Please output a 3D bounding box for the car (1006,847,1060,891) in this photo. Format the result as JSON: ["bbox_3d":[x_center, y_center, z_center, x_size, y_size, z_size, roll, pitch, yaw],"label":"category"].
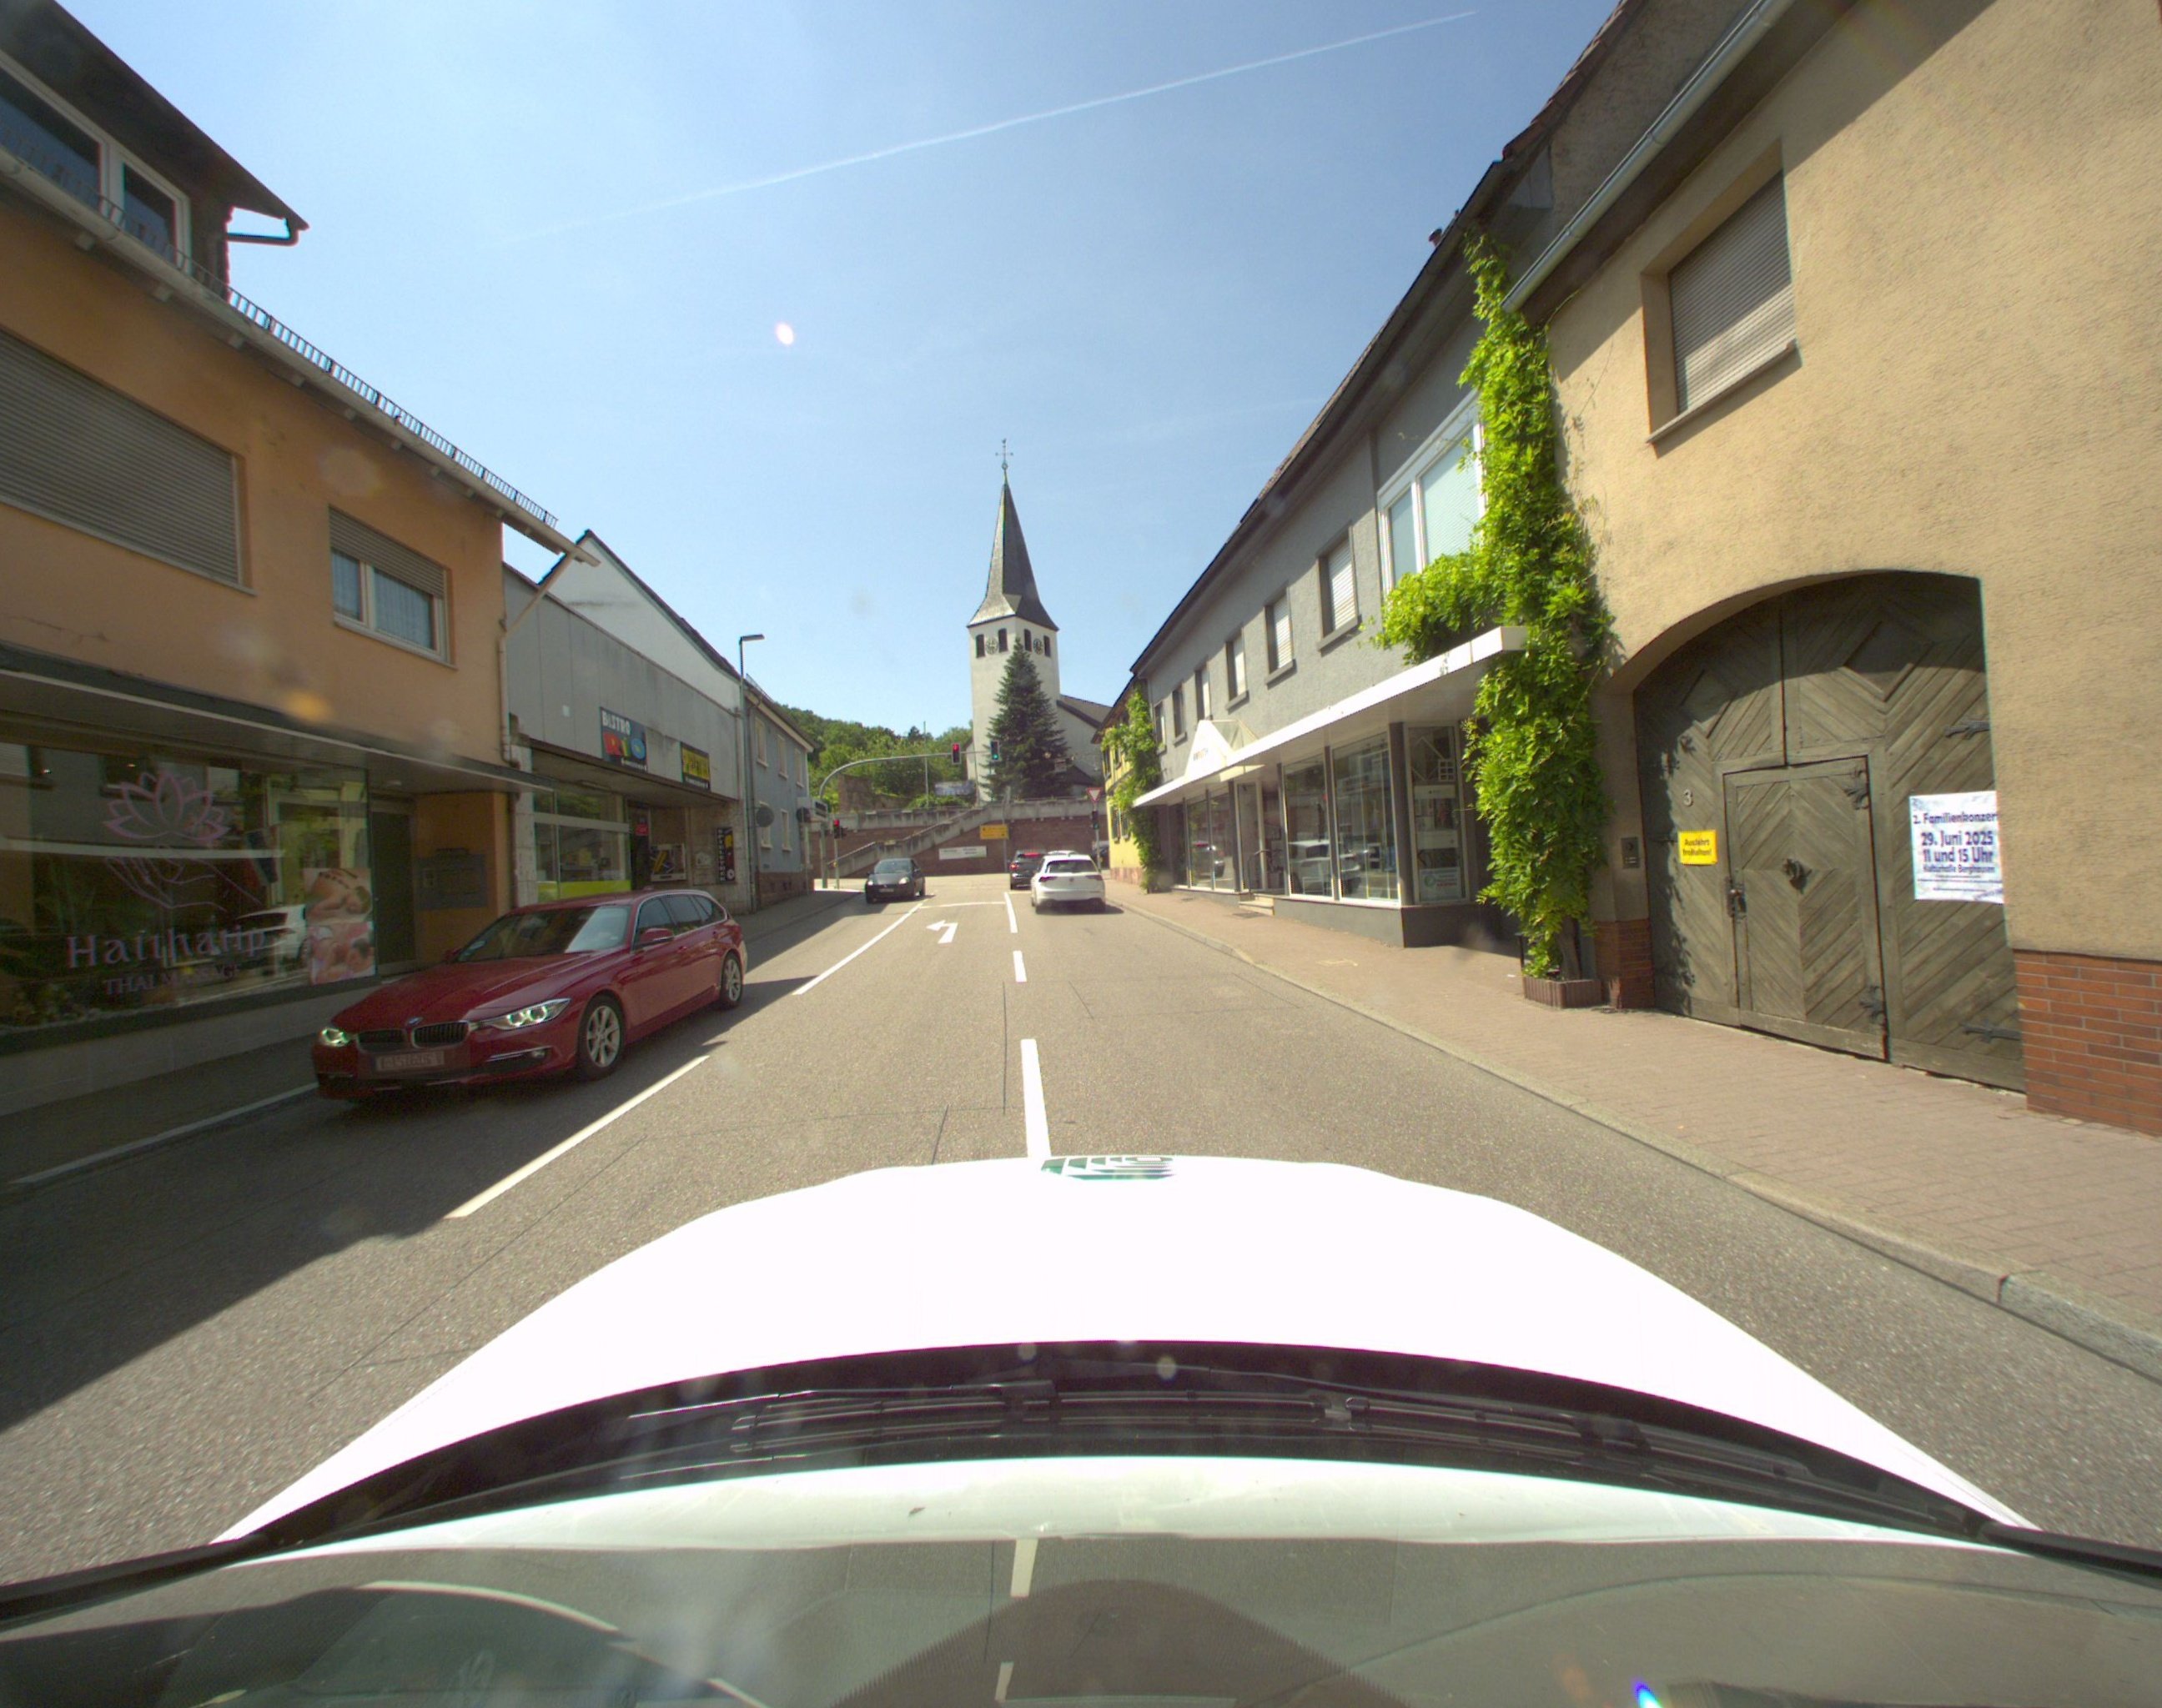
[{"bbox_3d":[-2.094,0.585,34.306,1.948,1.582,4.315,-3,2,-7],"label":"car"}]

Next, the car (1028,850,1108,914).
[{"bbox_3d":[-0.442,0.683,21.581,1.780,1.458,3.856,-3,0,-5],"label":"car"}]

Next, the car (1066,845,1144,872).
[{"bbox_3d":[1.580,0.294,53.198,4.807,1.487,1.787,-3,0,-26],"label":"car"}]

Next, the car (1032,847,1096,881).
[{"bbox_3d":[-0.830,0.479,42.209,1.755,1.496,4.011,-2,2,24],"label":"car"}]

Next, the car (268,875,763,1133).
[{"bbox_3d":[-4.651,1.068,7.666,1.714,1.408,4.280,-5,1,-3],"label":"car"}]

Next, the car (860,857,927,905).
[{"bbox_3d":[-6.647,0.906,29.274,1.715,1.422,3.813,-5,1,-5],"label":"car"}]
